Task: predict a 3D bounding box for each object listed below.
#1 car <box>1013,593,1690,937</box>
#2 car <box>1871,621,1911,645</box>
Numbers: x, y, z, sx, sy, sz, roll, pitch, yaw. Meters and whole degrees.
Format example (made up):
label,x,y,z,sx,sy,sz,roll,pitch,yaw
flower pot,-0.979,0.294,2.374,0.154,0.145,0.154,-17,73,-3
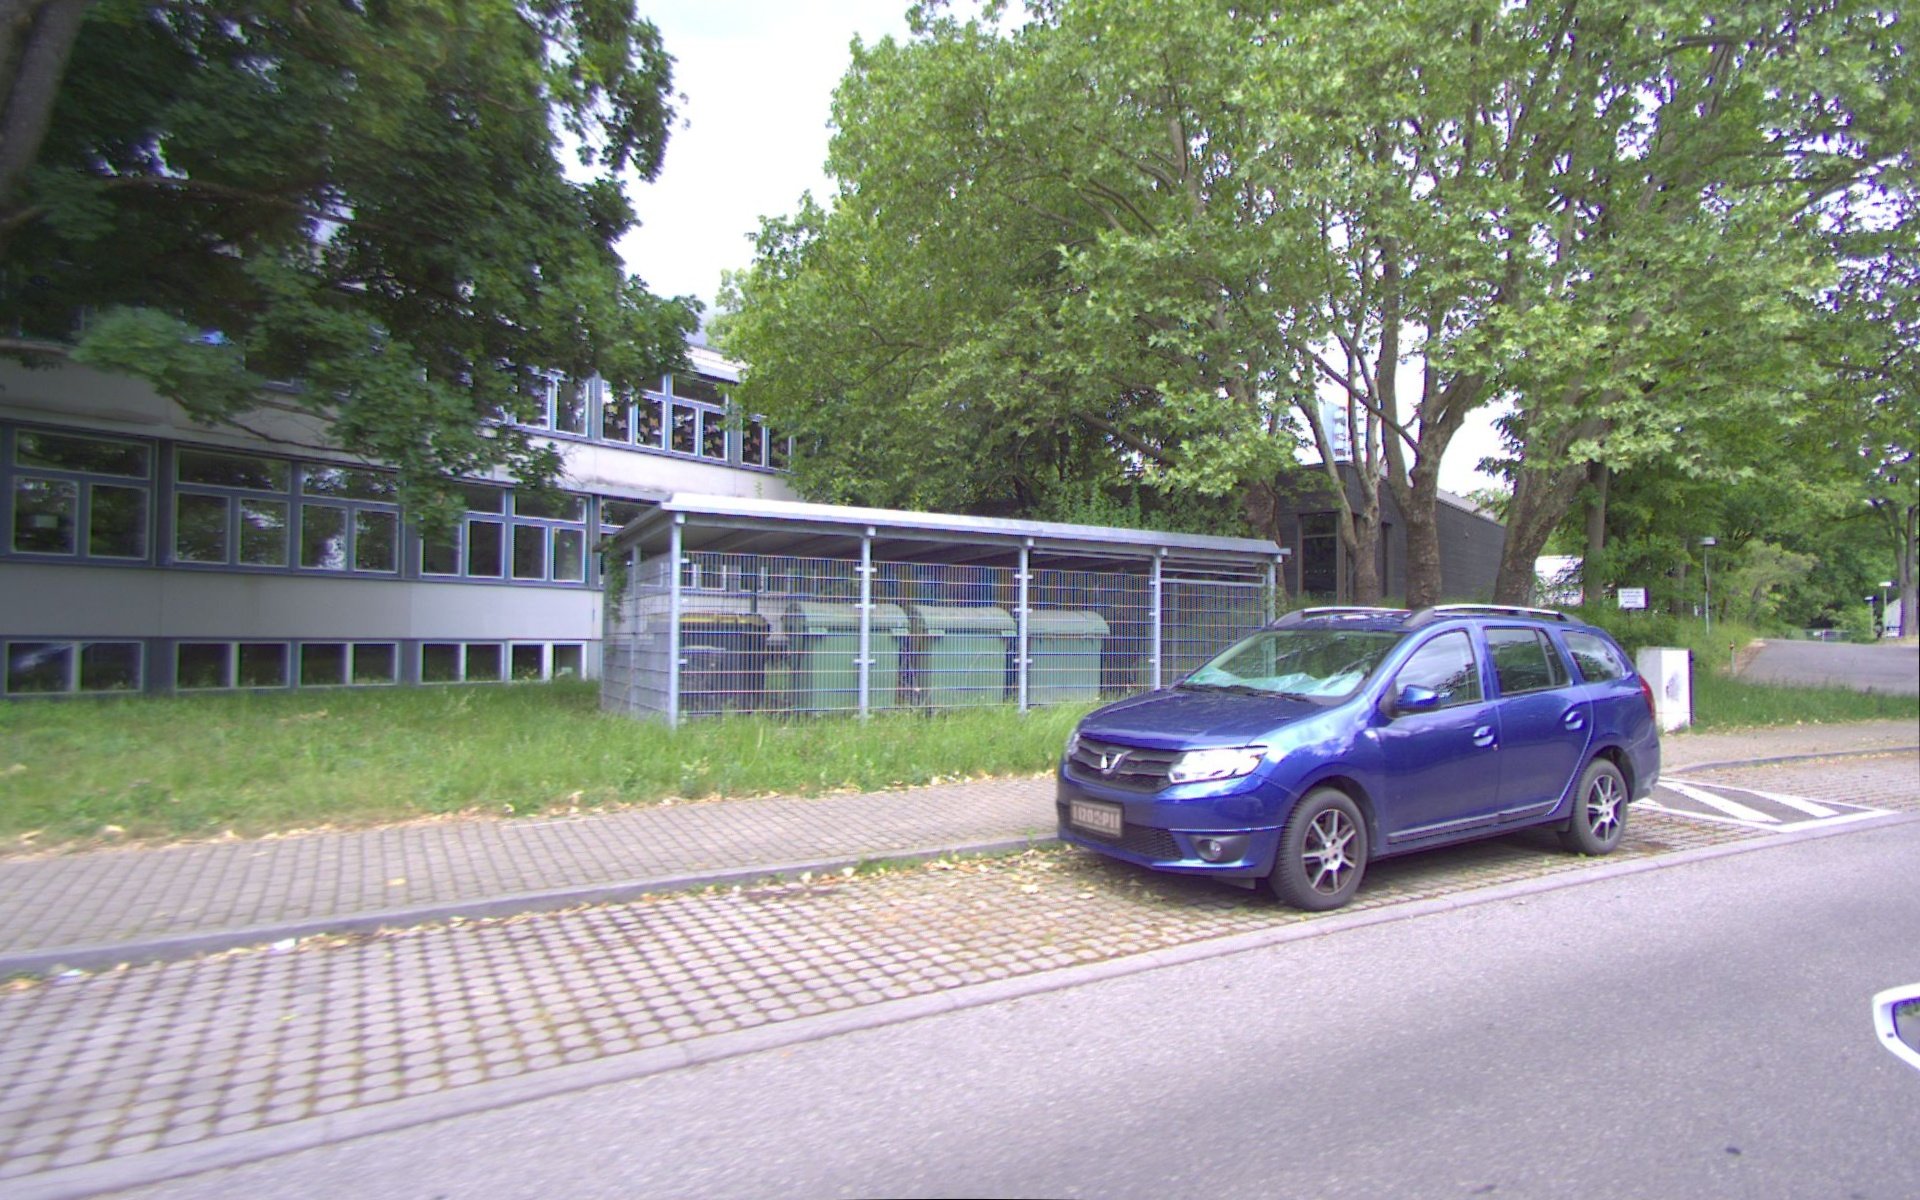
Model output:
label,x,y,z,sx,sy,sz,roll,pitch,yaw
car,2.615,0.796,6.346,4.380,1.531,1.671,1,-1,-31
car,70.637,2.520,76.198,3.971,1.769,1.855,2,-2,-43
